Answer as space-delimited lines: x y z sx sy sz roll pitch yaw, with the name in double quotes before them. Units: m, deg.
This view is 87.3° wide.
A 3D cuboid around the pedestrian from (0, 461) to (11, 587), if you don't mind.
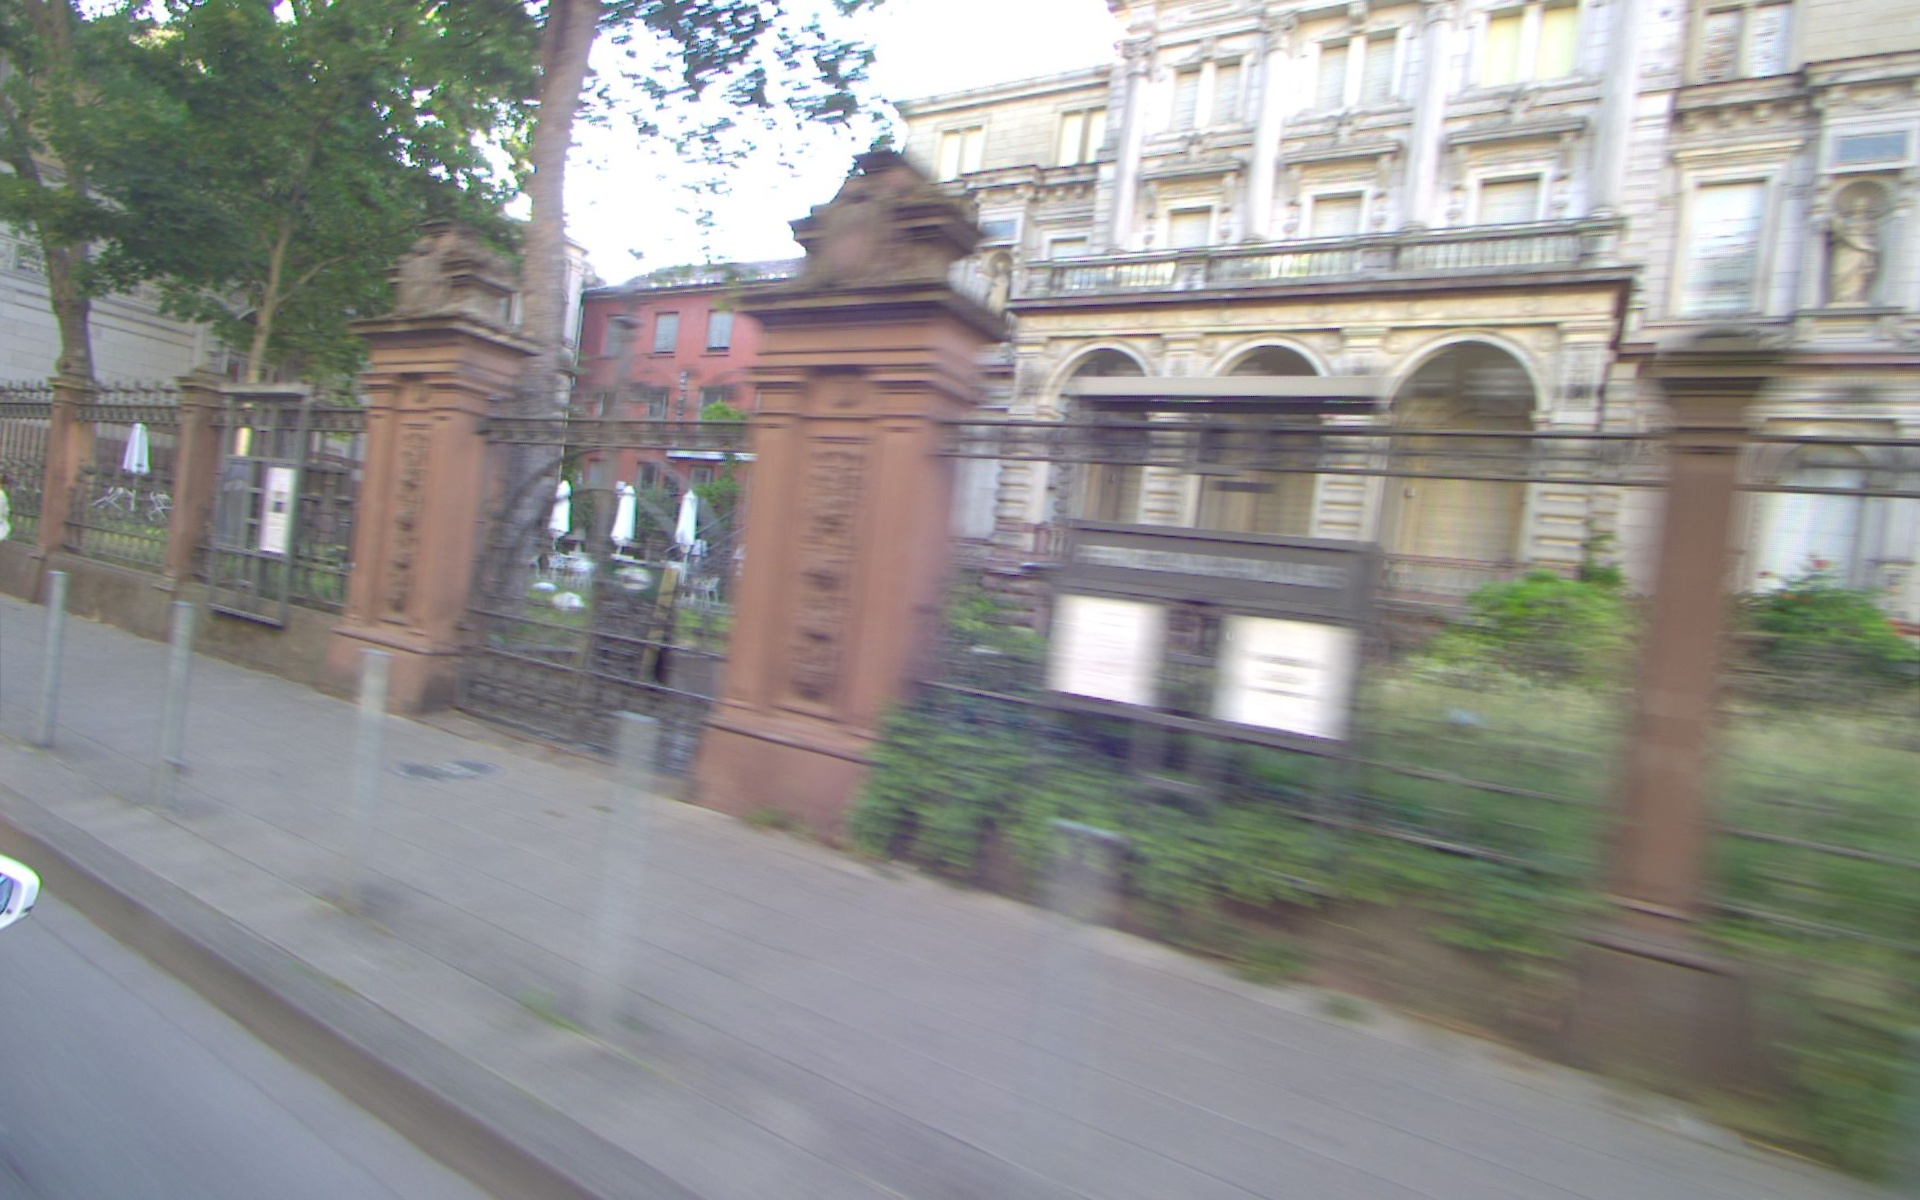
"pedestrian" -11.976 -0.957 11.977 0.608 1.519 0.750 8 2 26
